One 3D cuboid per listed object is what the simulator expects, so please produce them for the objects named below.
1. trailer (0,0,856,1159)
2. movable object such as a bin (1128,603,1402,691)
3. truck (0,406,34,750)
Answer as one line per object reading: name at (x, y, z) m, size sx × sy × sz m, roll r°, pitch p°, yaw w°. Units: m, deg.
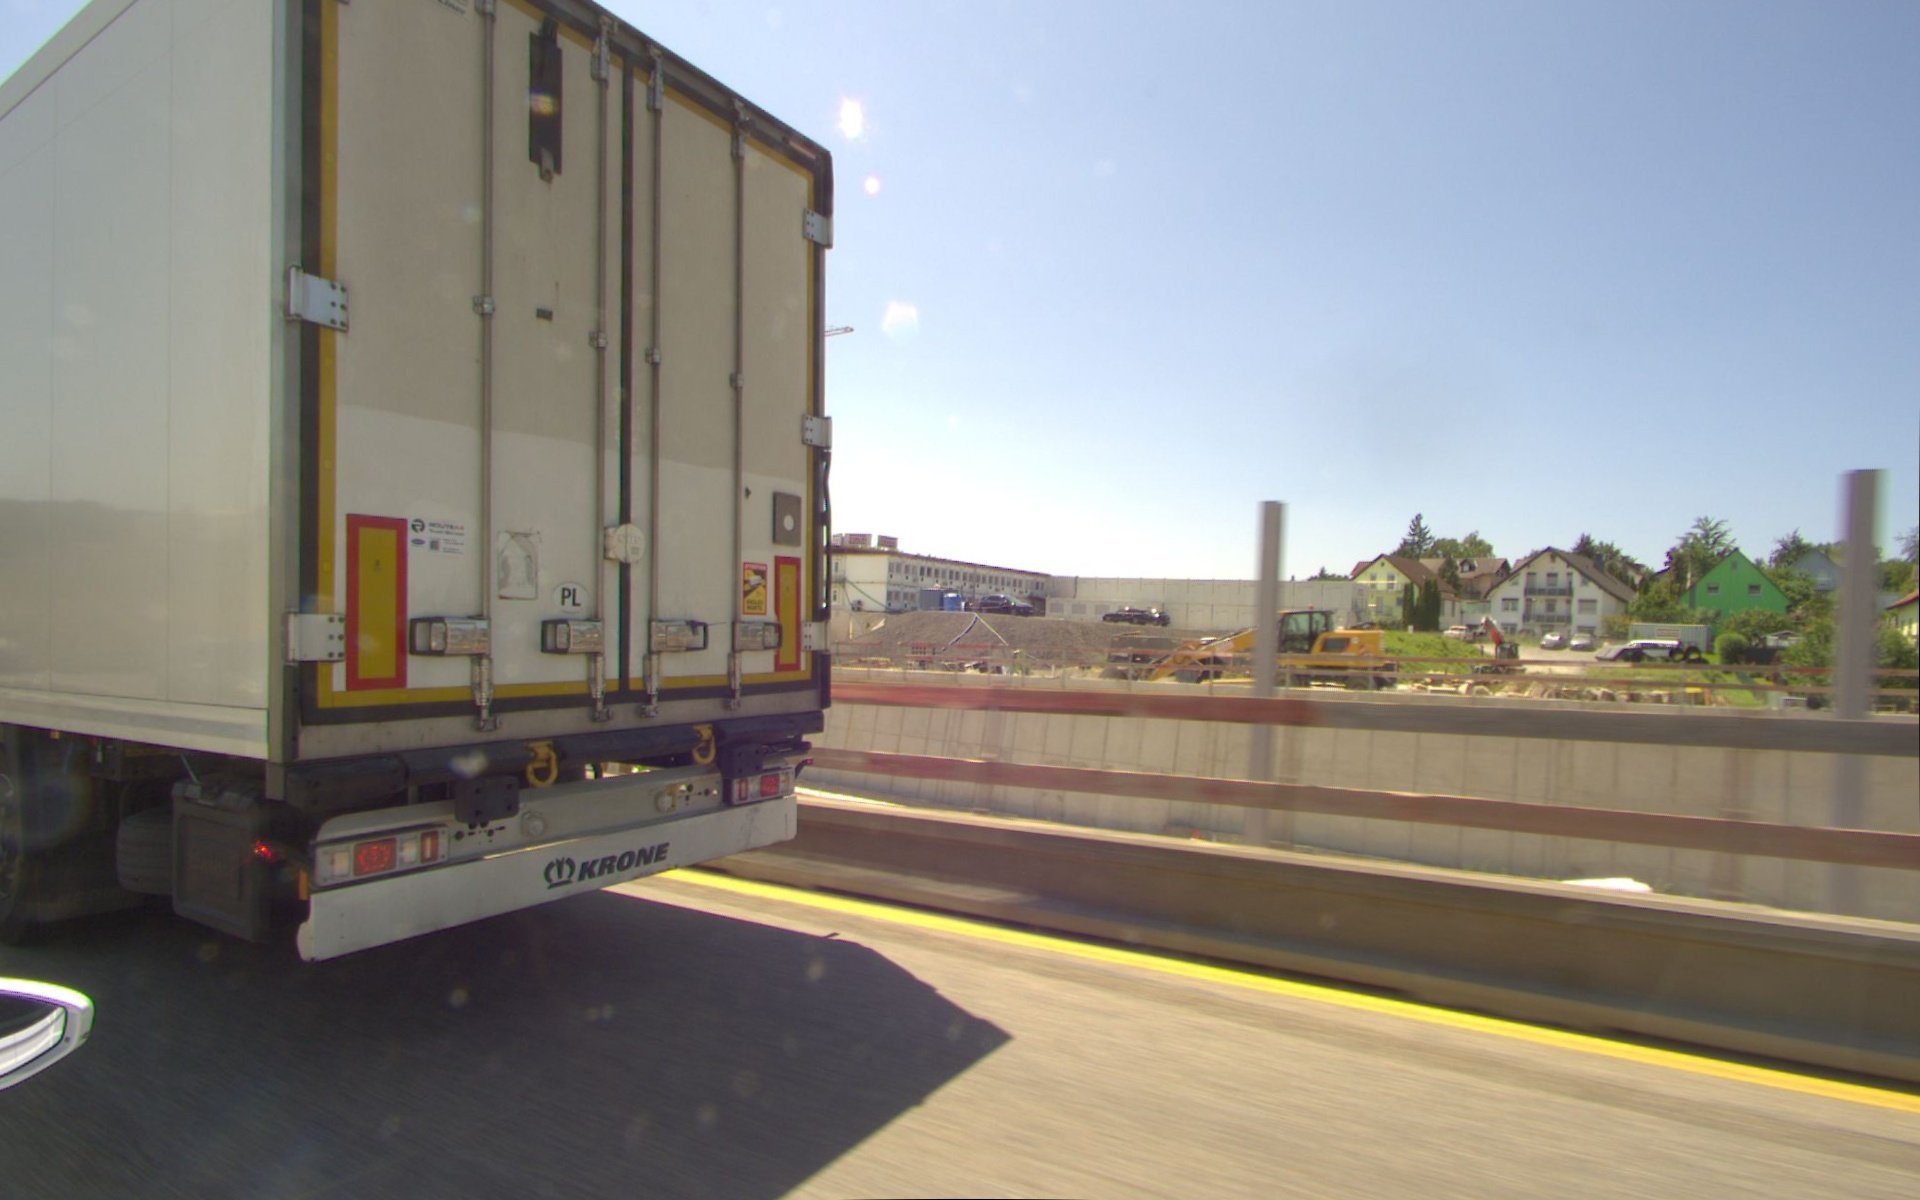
trailer at (-7.110, -0.378, 7.797) m, size 13.918 × 4.110 × 2.796 m, roll -1°, pitch -1°, yaw 33°
movable object such as a bin at (11.148, 1.651, 37.201) m, size 9.342 × 2.946 × 2.883 m, roll 0°, pitch -2°, yaw 32°
truck at (-14.070, -0.260, 12.358) m, size 4.835 × 4.111 × 2.771 m, roll -1°, pitch -1°, yaw 33°
